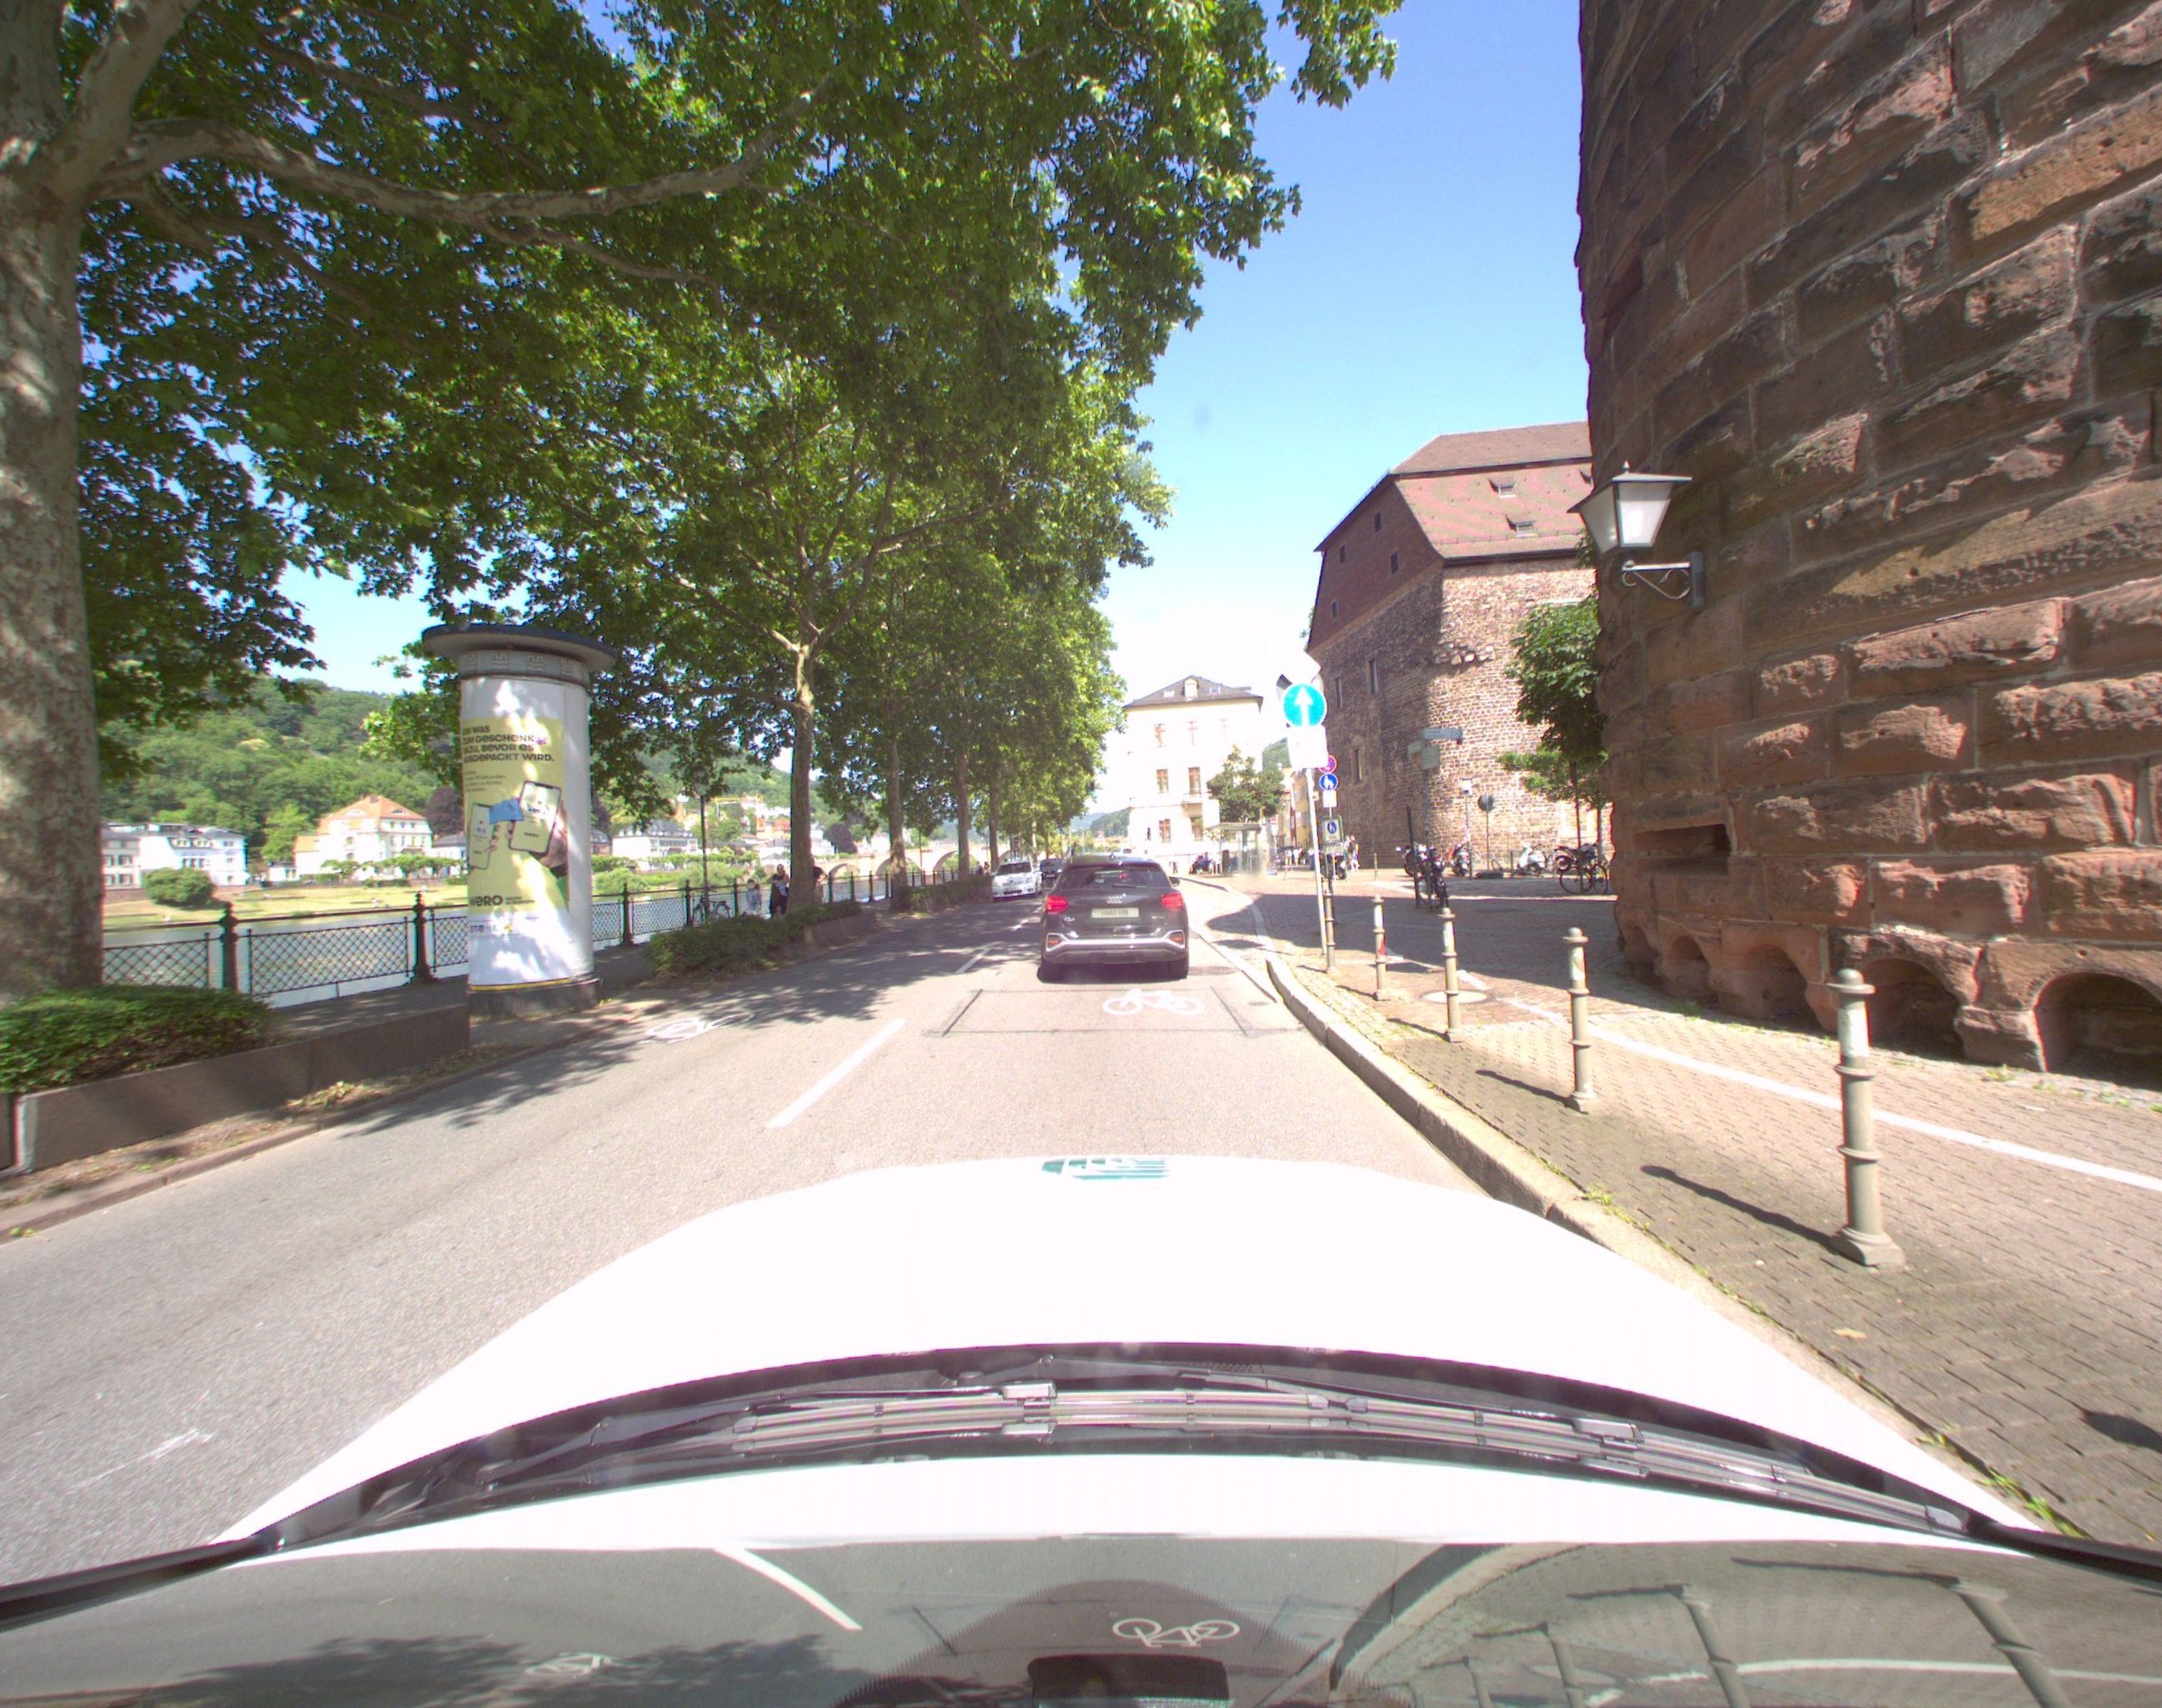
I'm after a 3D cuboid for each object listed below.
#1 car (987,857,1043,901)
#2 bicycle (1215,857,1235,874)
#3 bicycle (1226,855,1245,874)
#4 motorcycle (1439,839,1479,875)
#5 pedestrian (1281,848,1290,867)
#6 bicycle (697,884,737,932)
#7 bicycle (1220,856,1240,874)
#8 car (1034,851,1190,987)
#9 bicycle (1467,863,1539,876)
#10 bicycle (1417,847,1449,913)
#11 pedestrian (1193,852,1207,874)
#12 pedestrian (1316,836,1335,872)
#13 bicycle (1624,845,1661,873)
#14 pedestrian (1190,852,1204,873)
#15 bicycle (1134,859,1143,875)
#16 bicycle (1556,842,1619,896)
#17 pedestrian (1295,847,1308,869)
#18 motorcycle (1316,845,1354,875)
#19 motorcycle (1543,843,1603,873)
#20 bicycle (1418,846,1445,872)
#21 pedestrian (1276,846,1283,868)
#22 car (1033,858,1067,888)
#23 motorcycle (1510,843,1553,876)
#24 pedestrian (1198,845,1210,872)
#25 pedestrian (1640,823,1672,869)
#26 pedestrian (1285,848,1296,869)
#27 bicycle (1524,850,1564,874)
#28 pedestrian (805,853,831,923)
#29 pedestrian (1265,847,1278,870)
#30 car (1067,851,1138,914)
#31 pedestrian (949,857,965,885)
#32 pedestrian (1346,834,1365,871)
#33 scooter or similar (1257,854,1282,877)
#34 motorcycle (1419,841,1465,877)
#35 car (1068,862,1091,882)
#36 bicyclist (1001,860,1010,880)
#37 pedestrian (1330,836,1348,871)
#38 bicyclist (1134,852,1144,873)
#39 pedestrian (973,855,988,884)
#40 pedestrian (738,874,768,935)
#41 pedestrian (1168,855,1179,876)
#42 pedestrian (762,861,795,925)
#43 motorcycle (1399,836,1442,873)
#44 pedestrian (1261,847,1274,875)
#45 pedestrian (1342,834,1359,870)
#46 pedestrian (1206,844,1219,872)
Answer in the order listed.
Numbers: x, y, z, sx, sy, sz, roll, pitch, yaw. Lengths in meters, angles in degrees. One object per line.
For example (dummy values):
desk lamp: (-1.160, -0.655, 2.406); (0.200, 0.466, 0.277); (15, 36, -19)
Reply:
car: (-2.666, 0.987, 33.815); (1.732, 1.572, 4.093); (-6, 0, 2)
bicycle: (8.601, 0.674, 48.569); (1.187, 1.016, 0.178); (0, -1, -17)
bicycle: (8.955, 0.616, 47.166); (1.160, 1.070, 0.178); (0, -1, -17)
motorcycle: (13.697, 0.127, 29.591); (0.544, 1.235, 2.031); (-1, -1, 2)
pedestrian: (16.164, 0.282, 64.343); (0.619, 1.532, 0.467); (-1, -1, 5)
bicycle: (-8.925, 1.297, 20.014); (0.358, 1.091, 1.296); (1, 0, 1)
bicycle: (8.795, 0.633, 47.925); (1.205, 1.035, 0.178); (0, -1, -17)
car: (0.407, 0.732, 10.988); (1.736, 1.509, 3.648); (-1, 0, 2)
bicycle: (13.662, 0.497, 26.428); (1.914, 0.381, 0.921); (-2, -1, 16)
bicycle: (6.797, 0.469, 15.764); (0.192, 1.203, 1.775); (-2, 0, 13)
pedestrian: (6.896, 0.520, 47.138); (0.662, 1.212, 0.640); (0, -1, -5)
pedestrian: (12.783, -0.001, 42.599); (0.744, 1.890, 0.753); (-1, -1, 4)
bicycle: (19.629, 0.172, 28.499); (0.358, 0.966, 1.381); (-1, -1, 1)
pedestrian: (6.834, 0.509, 47.878); (0.662, 1.231, 0.640); (0, -1, -5)
bicycle: (4.163, 0.946, 58.749); (0.436, 1.086, 1.675); (-1, -1, -2)
bicycle: (11.468, 0.326, 18.494); (0.444, 1.162, 1.732); (-2, 0, 5)
pedestrian: (20.554, 0.415, 75.933); (0.936, 2.014, 0.808); (-1, -1, 2)
motorcycle: (9.029, 0.214, 29.081); (0.564, 1.012, 2.490); (-3, 0, 1)
motorcycle: (18.164, 0.157, 30.095); (1.854, 1.054, 0.481); (-1, -1, 9)
bicycle: (16.775, 0.243, 38.999); (0.388, 1.209, 1.715); (0, -1, -6)
pedestrian: (15.663, 0.225, 64.370); (0.447, 1.680, 0.467); (-1, -1, 5)
car: (-2.068, 1.243, 55.486); (1.806, 1.725, 4.423); (-8, 0, 2)
motorcycle: (15.516, 0.199, 28.100); (0.505, 1.073, 1.840); (-1, -1, 2)
pedestrian: (8.949, 0.335, 59.395); (0.632, 2.014, 0.670); (-1, -2, 31)
pedestrian: (21.658, -0.308, 30.675); (0.799, 1.662, 0.660); (-3, -1, 26)
pedestrian: (19.546, 0.435, 76.086); (0.836, 2.014, 0.738); (-1, -1, 2)
bicycle: (16.584, 0.280, 29.214); (0.352, 0.820, 1.926); (-1, 0, 1)
pedestrian: (-7.171, 0.916, 22.188); (0.532, 1.887, 0.437); (-1, -1, 1)
pedestrian: (17.075, 0.427, 72.912); (0.941, 2.014, 0.808); (-1, -1, 2)
car: (0.604, 0.732, 22.378); (1.786, 1.595, 3.400); (-1, 0, 2)
pedestrian: (-8.217, 1.155, 54.159); (0.906, 1.844, 0.586); (-1, -1, 6)
pedestrian: (15.095, -0.098, 44.806); (0.727, 2.014, 0.878); (-1, -1, 1)
scooter or similar: (8.886, 0.534, 38.360); (1.085, 1.066, 0.323); (-1, -1, -1)
motorcycle: (12.861, 0.197, 29.085); (0.672, 1.235, 2.313); (-1, -1, 2)
car: (-0.131, 1.743, 78.538); (1.985, 1.806, 4.003); (-1, -1, 3)
bicyclist: (-5.116, 1.098, 55.237); (0.565, 1.311, 0.551); (-1, -1, -3)
pedestrian: (13.765, -0.021, 43.467); (0.666, 1.884, 0.821); (-1, -1, 1)
bicyclist: (4.171, 0.615, 58.793); (0.604, 1.450, 0.590); (-1, -1, -3)
pedestrian: (-7.059, 1.112, 57.381); (0.906, 2.014, 0.586); (-1, -1, 6)
pedestrian: (-7.460, 1.144, 18.535); (0.476, 1.363, 0.418); (-1, 0, 5)
pedestrian: (6.502, 0.829, 57.465); (0.691, 1.500, 0.513); (-1, -1, -3)
pedestrian: (-8.221, 1.050, 22.148); (0.599, 1.685, 0.583); (-3, 0, 0)
motorcycle: (12.019, 0.041, 28.899); (0.653, 1.266, 2.201); (-2, -1, 2)
pedestrian: (9.469, 0.356, 41.366); (0.555, 1.385, 0.588); (-1, -1, 4)
pedestrian: (14.554, -0.104, 43.984); (0.666, 1.920, 0.821); (-1, -1, 1)
pedestrian: (9.514, 0.305, 58.891); (0.632, 2.014, 0.670); (-1, -2, 31)
